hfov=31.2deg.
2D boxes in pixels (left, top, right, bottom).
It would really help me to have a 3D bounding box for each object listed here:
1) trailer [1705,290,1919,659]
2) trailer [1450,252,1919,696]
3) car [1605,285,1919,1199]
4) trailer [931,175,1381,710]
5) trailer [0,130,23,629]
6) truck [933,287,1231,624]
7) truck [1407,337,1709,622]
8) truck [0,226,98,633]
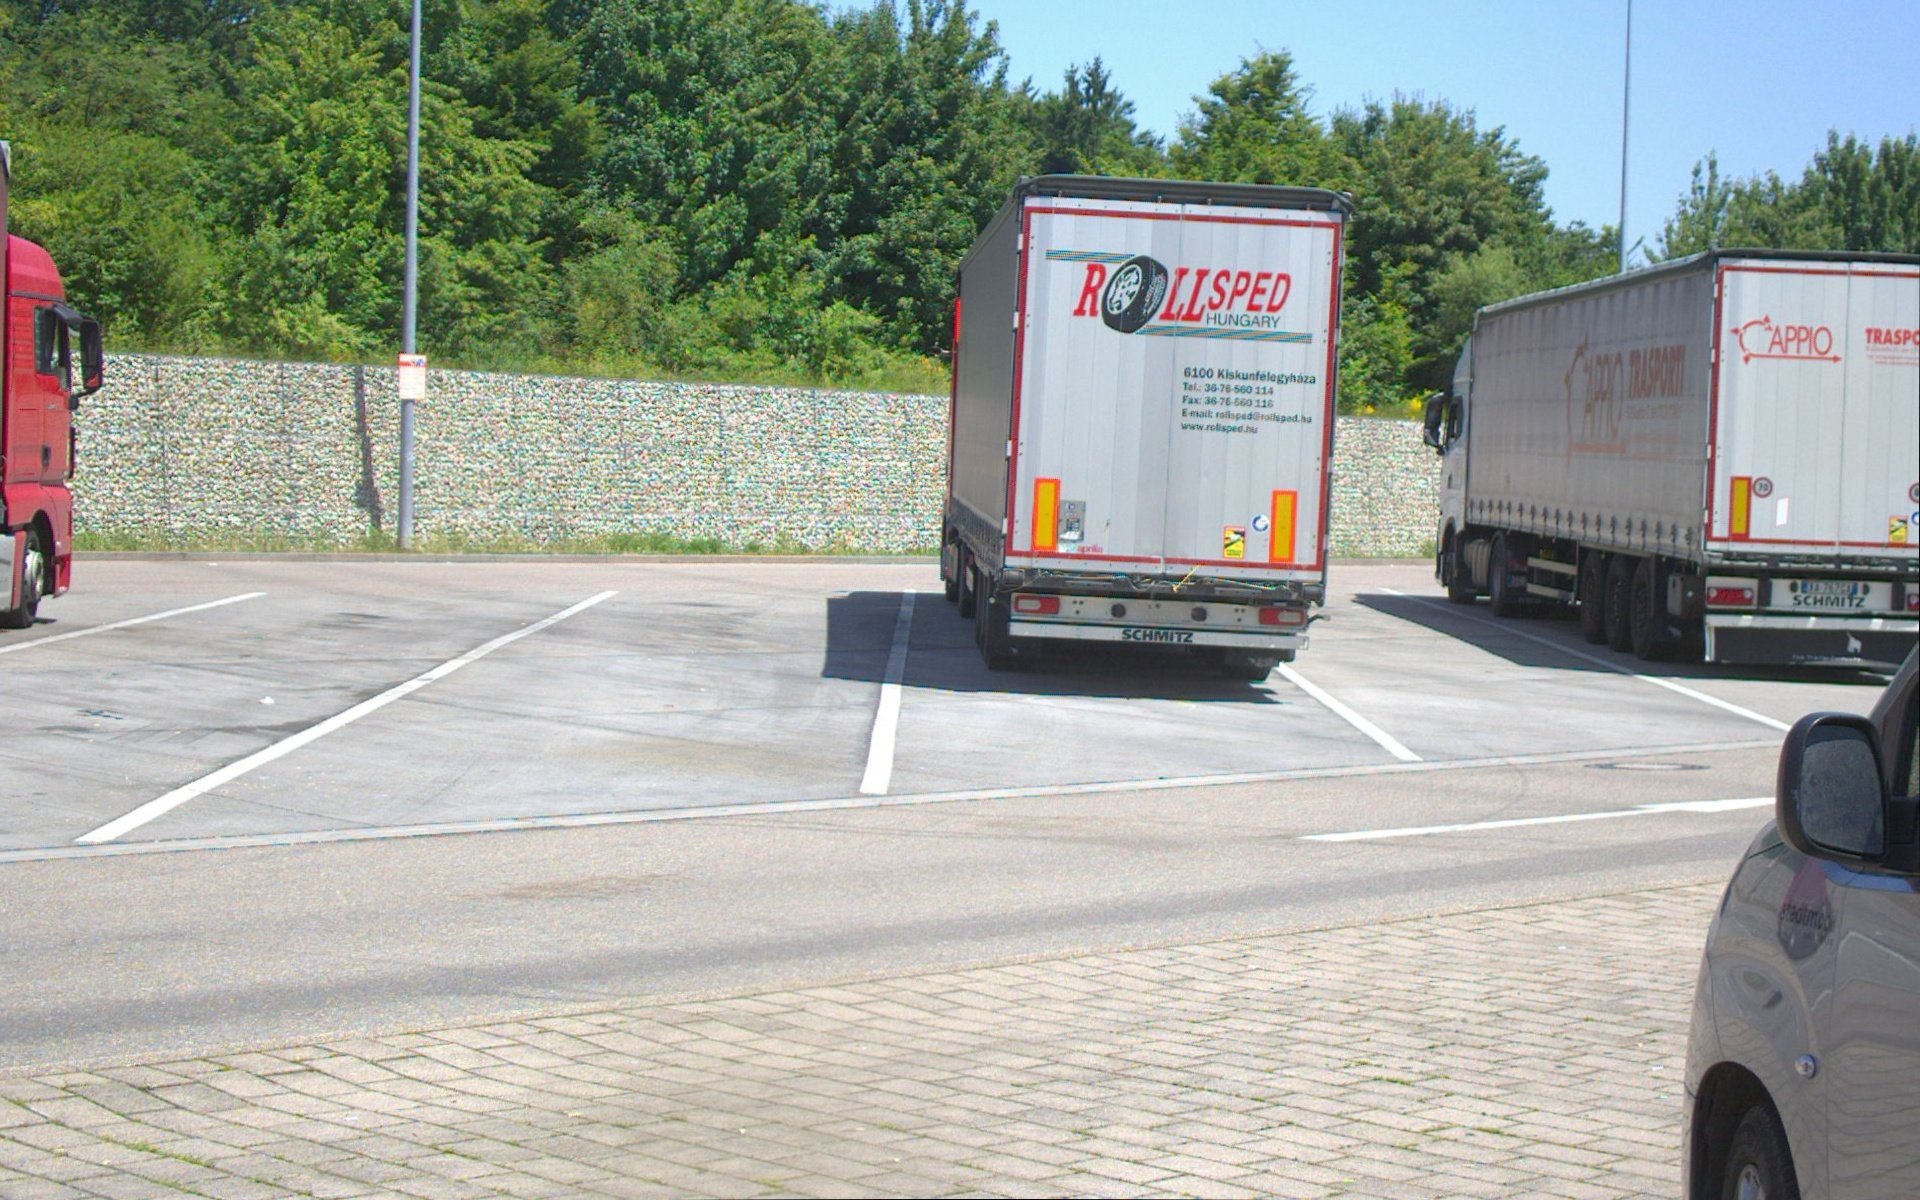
[{"bbox_3d":[11.750,-1.451,39.775,2.811,3.976,14.396,2,3,-1],"label":"trailer"},{"bbox_3d":[8.109,-1.519,38.723,2.811,3.976,14.396,2,3,-1],"label":"trailer"},{"bbox_3d":[2.145,0.589,3.841,1.869,1.857,4.177,2,2,-2],"label":"car"},{"bbox_3d":[1.443,-1.591,33.610,3.133,3.976,14.397,2,3,-1],"label":"trailer"},{"bbox_3d":[-9.199,-1.488,21.560,2.791,4.071,14.133,2,3,-1],"label":"trailer"},{"bbox_3d":[1.306,-1.733,40.502,3.103,3.554,5.900,2,3,-1],"label":"truck"},{"bbox_3d":[8.016,-1.696,46.823,2.862,3.509,5.900,2,3,-1],"label":"truck"},{"bbox_3d":[-9.243,-1.444,28.134,2.851,3.316,5.900,2,3,-1],"label":"truck"}]
